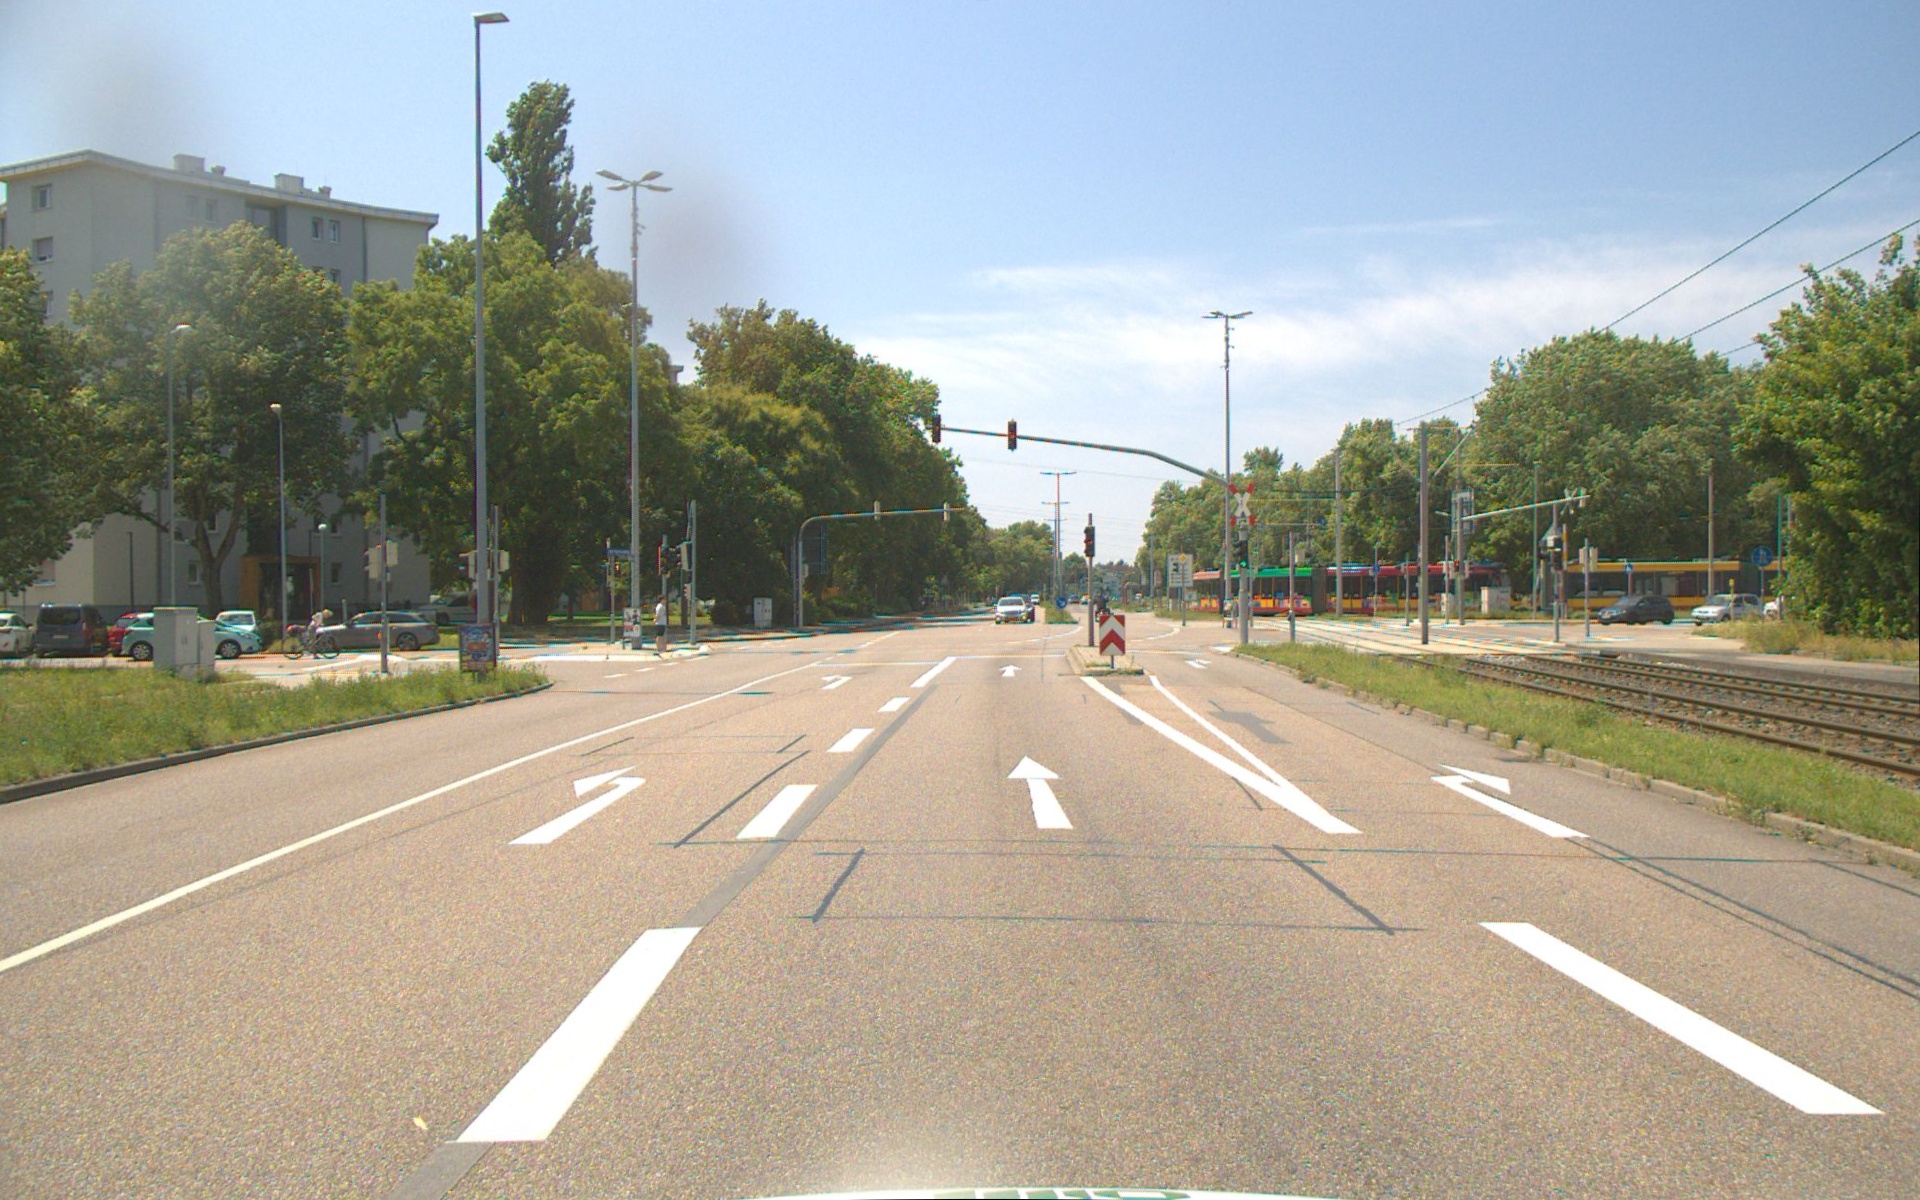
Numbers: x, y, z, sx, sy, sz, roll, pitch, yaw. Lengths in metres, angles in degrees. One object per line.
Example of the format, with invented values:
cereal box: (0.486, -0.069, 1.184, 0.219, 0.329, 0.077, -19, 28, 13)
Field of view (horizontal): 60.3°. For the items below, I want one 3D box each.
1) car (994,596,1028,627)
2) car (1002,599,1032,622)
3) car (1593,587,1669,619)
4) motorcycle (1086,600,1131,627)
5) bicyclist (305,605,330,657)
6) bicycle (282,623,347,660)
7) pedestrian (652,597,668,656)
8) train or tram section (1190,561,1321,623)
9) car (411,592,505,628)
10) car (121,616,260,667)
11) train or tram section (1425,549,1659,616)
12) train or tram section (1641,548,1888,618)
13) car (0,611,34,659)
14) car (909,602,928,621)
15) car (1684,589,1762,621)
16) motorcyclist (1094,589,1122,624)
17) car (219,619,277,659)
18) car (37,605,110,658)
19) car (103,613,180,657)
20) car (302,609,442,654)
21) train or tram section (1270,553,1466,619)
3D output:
car: (2.885, 0.635, 93.243, 1.747, 1.657, 3.867, -1, 0, 4)
car: (3.475, 0.630, 100.701, 1.675, 1.389, 3.867, -1, 0, 4)
car: (33.006, 0.157, 81.368, 3.458, 1.488, 1.625, -1, 0, -28)
motorcycle: (7.220, 0.643, 80.283, 0.836, 1.277, 2.431, 0, 0, 45)
bicyclist: (-19.828, 0.947, 51.051, 0.654, 1.564, 0.628, 0, 0, -19)
bicycle: (-19.902, 1.269, 51.017, 1.836, 1.113, 0.643, 0, 0, -19)
pedestrian: (-8.831, 0.786, 48.750, 0.374, 1.717, 0.486, 0, 0, 0)
train or tram section: (21.203, -0.466, 120.011, 2.874, 3.879, 12.981, 2, -3, -22)
car: (-26.478, 0.514, 87.363, 1.761, 1.799, 4.519, -1, 0, 43)
car: (-24.186, 1.288, 52.093, 3.830, 1.494, 1.764, -1, 0, -21)
train or tram section: (36.550, -1.041, 104.418, 13.704, 3.988, 2.924, 0, -3, 19)
train or tram section: (49.403, -1.047, 101.791, 13.629, 3.988, 2.924, 1, -3, 2)
car: (-34.462, 1.220, 59.346, 1.681, 1.620, 3.972, 1, 0, -23)
car: (-4.622, 1.294, 184.454, 1.953, 2.049, 4.000, 3, -1, 0)
car: (36.848, 0.254, 79.886, 3.756, 1.488, 1.623, -1, 0, -32)
motorcyclist: (7.179, 0.330, 80.230, 1.202, 1.671, 0.779, 1, 0, -45)
car: (-26.735, 1.444, 62.186, 1.599, 1.404, 3.980, 1, 0, -18)
car: (-32.169, 1.100, 60.101, 1.678, 1.832, 3.978, 1, 0, -19)
car: (-29.777, 1.255, 60.276, 1.589, 1.489, 3.987, 1, 0, -12)
car: (-20.845, 1.092, 58.822, 4.540, 1.525, 1.904, -1, 0, -16)
train or tram section: (27.056, -0.831, 110.482, 2.901, 3.879, 13.235, 3, -4, -44)
